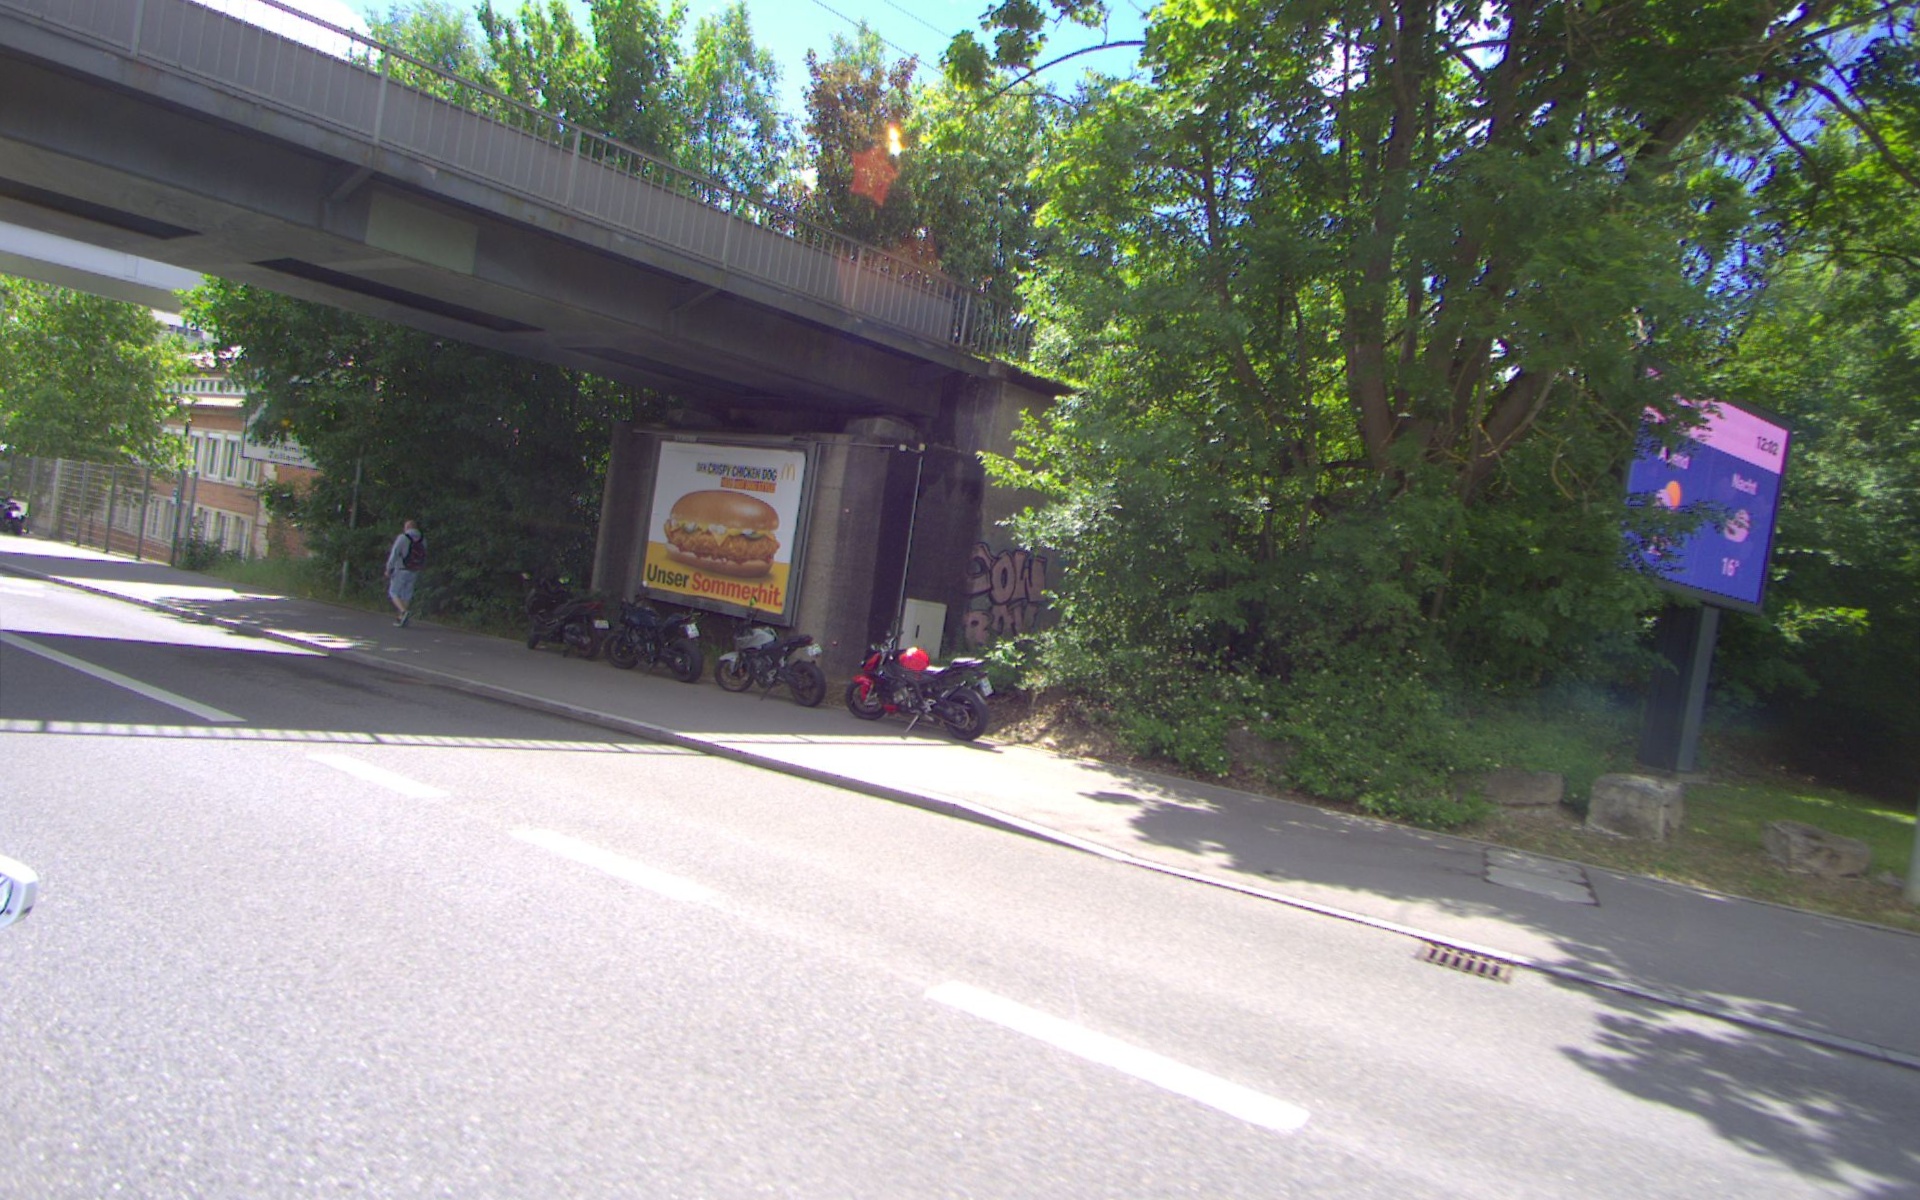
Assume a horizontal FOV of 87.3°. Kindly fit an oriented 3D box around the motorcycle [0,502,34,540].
[{"bbox_3d":[-30.658,-2.568,32.377,2.586,1.042,0.563,8,2,32],"label":"motorcycle"}]

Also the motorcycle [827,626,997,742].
[{"bbox_3d":[-0.605,0.994,12.256,1.983,1.124,0.548,6,0,30],"label":"motorcycle"}]

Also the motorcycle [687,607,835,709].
[{"bbox_3d":[-2.700,0.762,13.570,1.983,1.124,0.548,6,0,30],"label":"motorcycle"}]

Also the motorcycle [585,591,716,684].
[{"bbox_3d":[-4.573,0.539,14.811,1.983,1.124,0.548,6,0,30],"label":"motorcycle"}]

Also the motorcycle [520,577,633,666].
[{"bbox_3d":[-6.183,0.338,16.184,1.871,1.213,0.548,6,0,30],"label":"motorcycle"}]

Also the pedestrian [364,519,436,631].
[{"bbox_3d":[-9.969,-0.436,17.903,0.858,1.881,0.623,6,0,31],"label":"pedestrian"}]
